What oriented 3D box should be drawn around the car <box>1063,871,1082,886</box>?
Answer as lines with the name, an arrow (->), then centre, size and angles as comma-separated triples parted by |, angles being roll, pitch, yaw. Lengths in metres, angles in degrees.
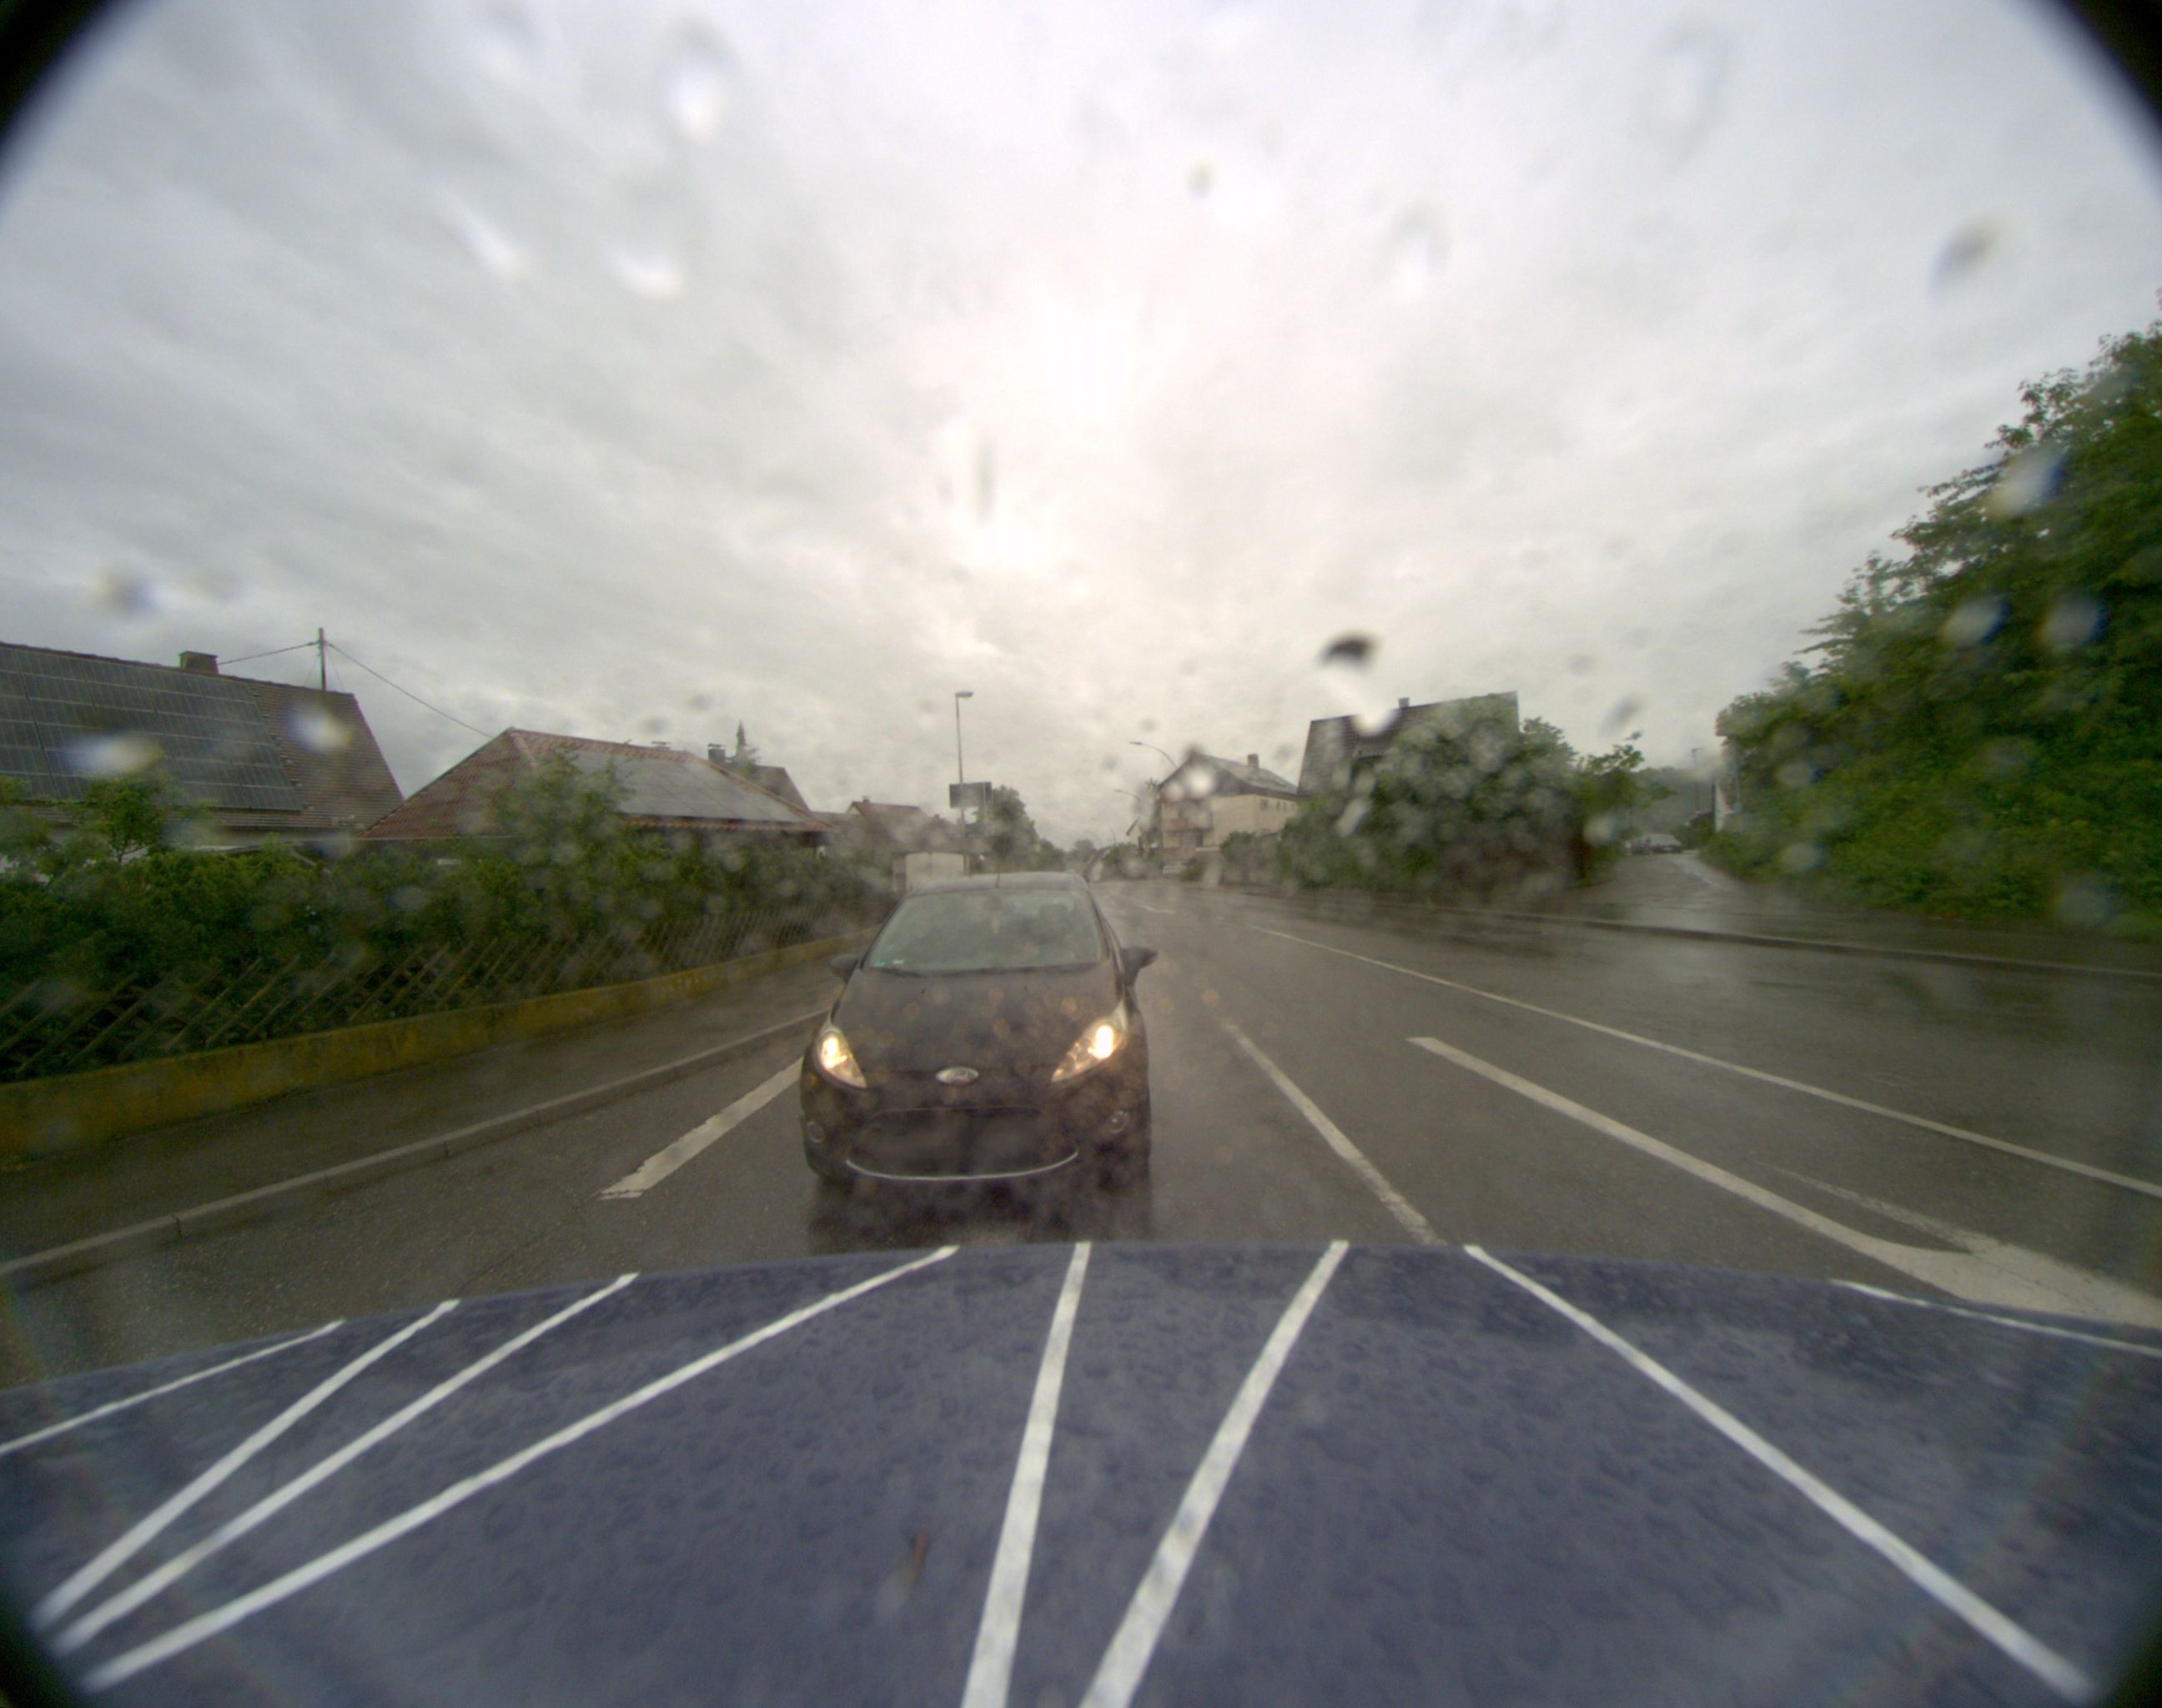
car -> -0.996, 2.700, 84.612 | 1.899, 1.474, 3.999 | -2, 0, -3

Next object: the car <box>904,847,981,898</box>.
car -> -6.936, 0.887, 38.556 | 1.650, 2.337, 4.007 | -2, 0, 27

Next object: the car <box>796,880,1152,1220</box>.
car -> -0.563, 1.017, 5.655 | 1.666, 1.410, 3.931 | -2, 1, -1

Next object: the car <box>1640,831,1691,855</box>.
car -> 40.697, -0.748, 52.989 | 1.895, 1.474, 4.007 | -2, 0, 24

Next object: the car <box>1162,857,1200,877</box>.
car -> 8.814, 1.111, 66.884 | 1.661, 1.538, 4.007 | -2, 1, 34

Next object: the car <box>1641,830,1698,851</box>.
car -> 45.767, -1.019, 59.224 | 1.997, 1.477, 4.004 | -3, 0, 13
